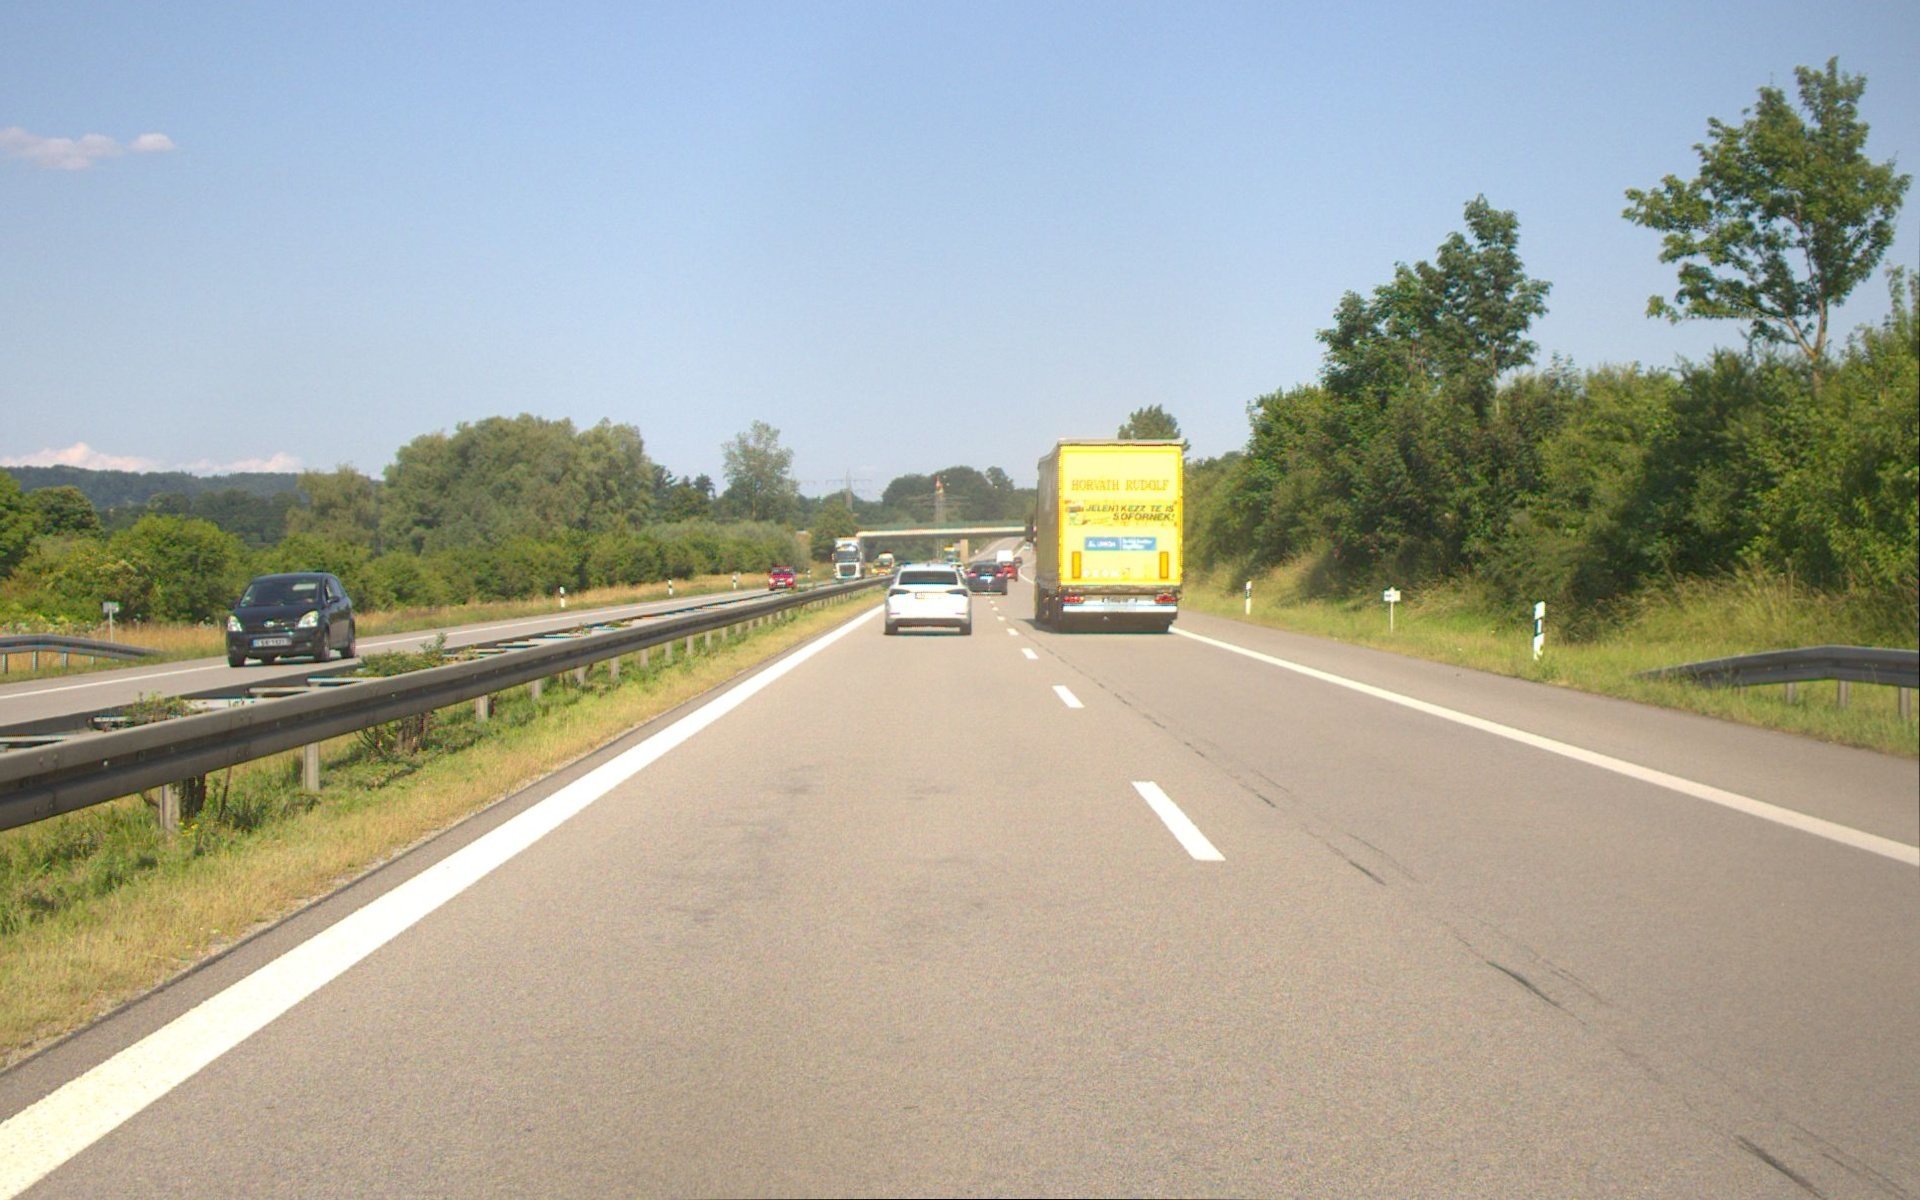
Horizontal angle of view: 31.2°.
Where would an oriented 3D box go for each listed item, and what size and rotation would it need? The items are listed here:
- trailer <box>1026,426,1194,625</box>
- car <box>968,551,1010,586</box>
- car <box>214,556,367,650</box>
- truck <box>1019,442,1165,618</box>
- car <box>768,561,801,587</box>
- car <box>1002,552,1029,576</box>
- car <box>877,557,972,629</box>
[{"bbox_3d":[3.203,-1.583,77.143,3.184,4.045,13.187,1,0,0],"label":"trailer"},{"bbox_3d":[1.331,-1.425,155.806,1.843,1.515,4.000,1,0,1],"label":"car"},{"bbox_3d":[-12.067,0.041,62.256,1.830,1.566,4.656,-2,0,0],"label":"car"},{"bbox_3d":[3.157,-1.677,84.035,3.168,4.100,6.389,1,0,-1],"label":"truck"},{"bbox_3d":[-11.151,-1.653,218.459,1.730,1.506,4.479,-3,0,1],"label":"car"},{"bbox_3d":[4.178,-2.716,259.470,1.902,1.677,4.731,2,0,0],"label":"car"},{"bbox_3d":[-0.709,-0.154,70.953,1.843,1.411,4.000,1,0,1],"label":"car"}]
